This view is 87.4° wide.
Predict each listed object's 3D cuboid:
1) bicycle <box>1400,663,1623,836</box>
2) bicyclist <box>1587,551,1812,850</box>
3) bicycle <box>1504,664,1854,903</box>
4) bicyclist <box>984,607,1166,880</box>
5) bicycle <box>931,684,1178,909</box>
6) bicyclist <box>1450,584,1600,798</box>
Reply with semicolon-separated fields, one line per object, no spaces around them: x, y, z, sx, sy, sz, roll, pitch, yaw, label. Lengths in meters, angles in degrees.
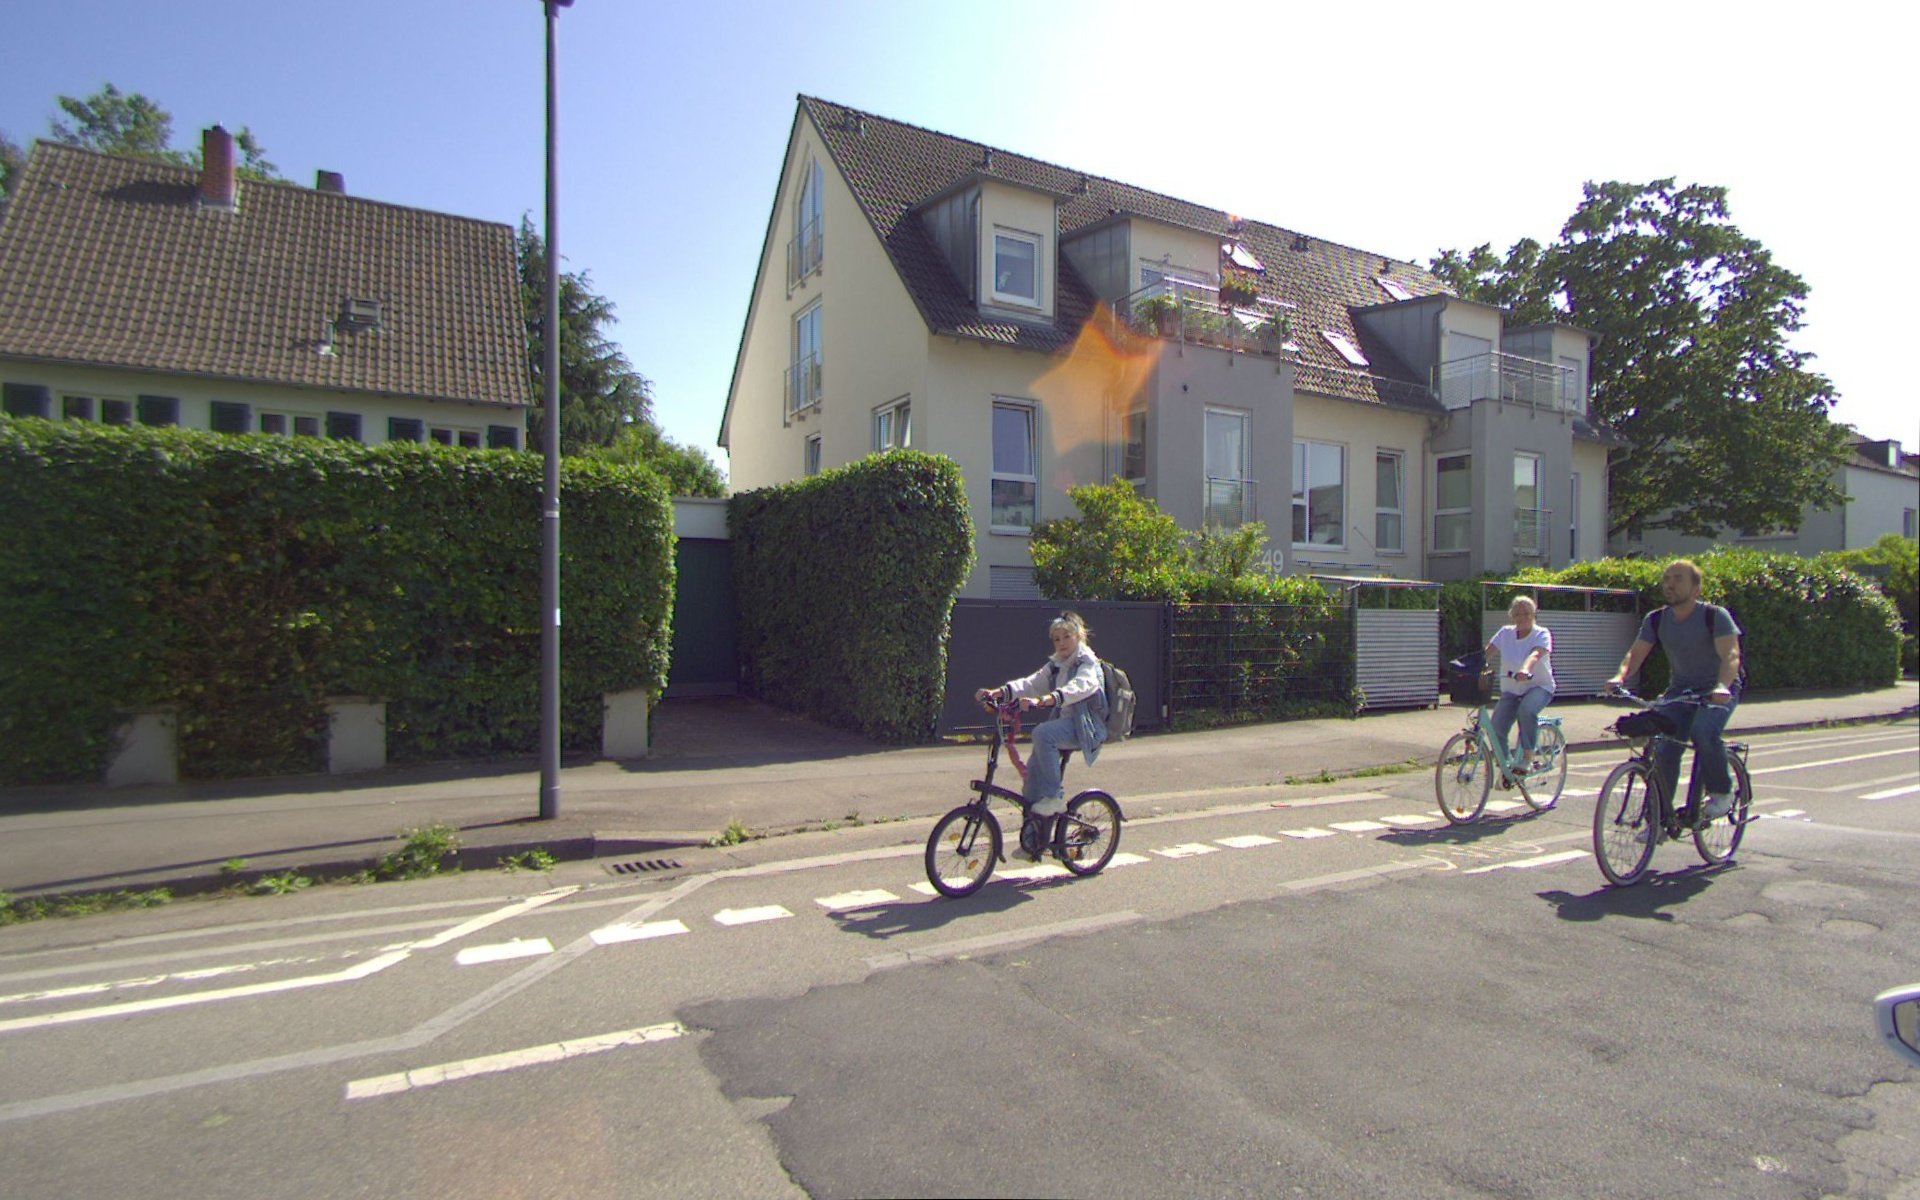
4.403;1.120;7.969;2.011;1.201;0.557;1;-3;-30;bicycle
4.600;0.593;6.267;1.009;1.689;0.746;1;-3;-29;bicyclist
4.405;1.000;6.098;2.391;1.181;0.779;1;-3;-30;bicycle
0.676;0.797;5.906;0.953;1.473;0.488;1;-3;-30;bicyclist
0.554;1.072;5.836;1.330;1.119;0.598;1;-3;-30;bicycle
4.525;0.706;8.056;0.849;1.601;0.673;1;-3;-29;bicyclist
